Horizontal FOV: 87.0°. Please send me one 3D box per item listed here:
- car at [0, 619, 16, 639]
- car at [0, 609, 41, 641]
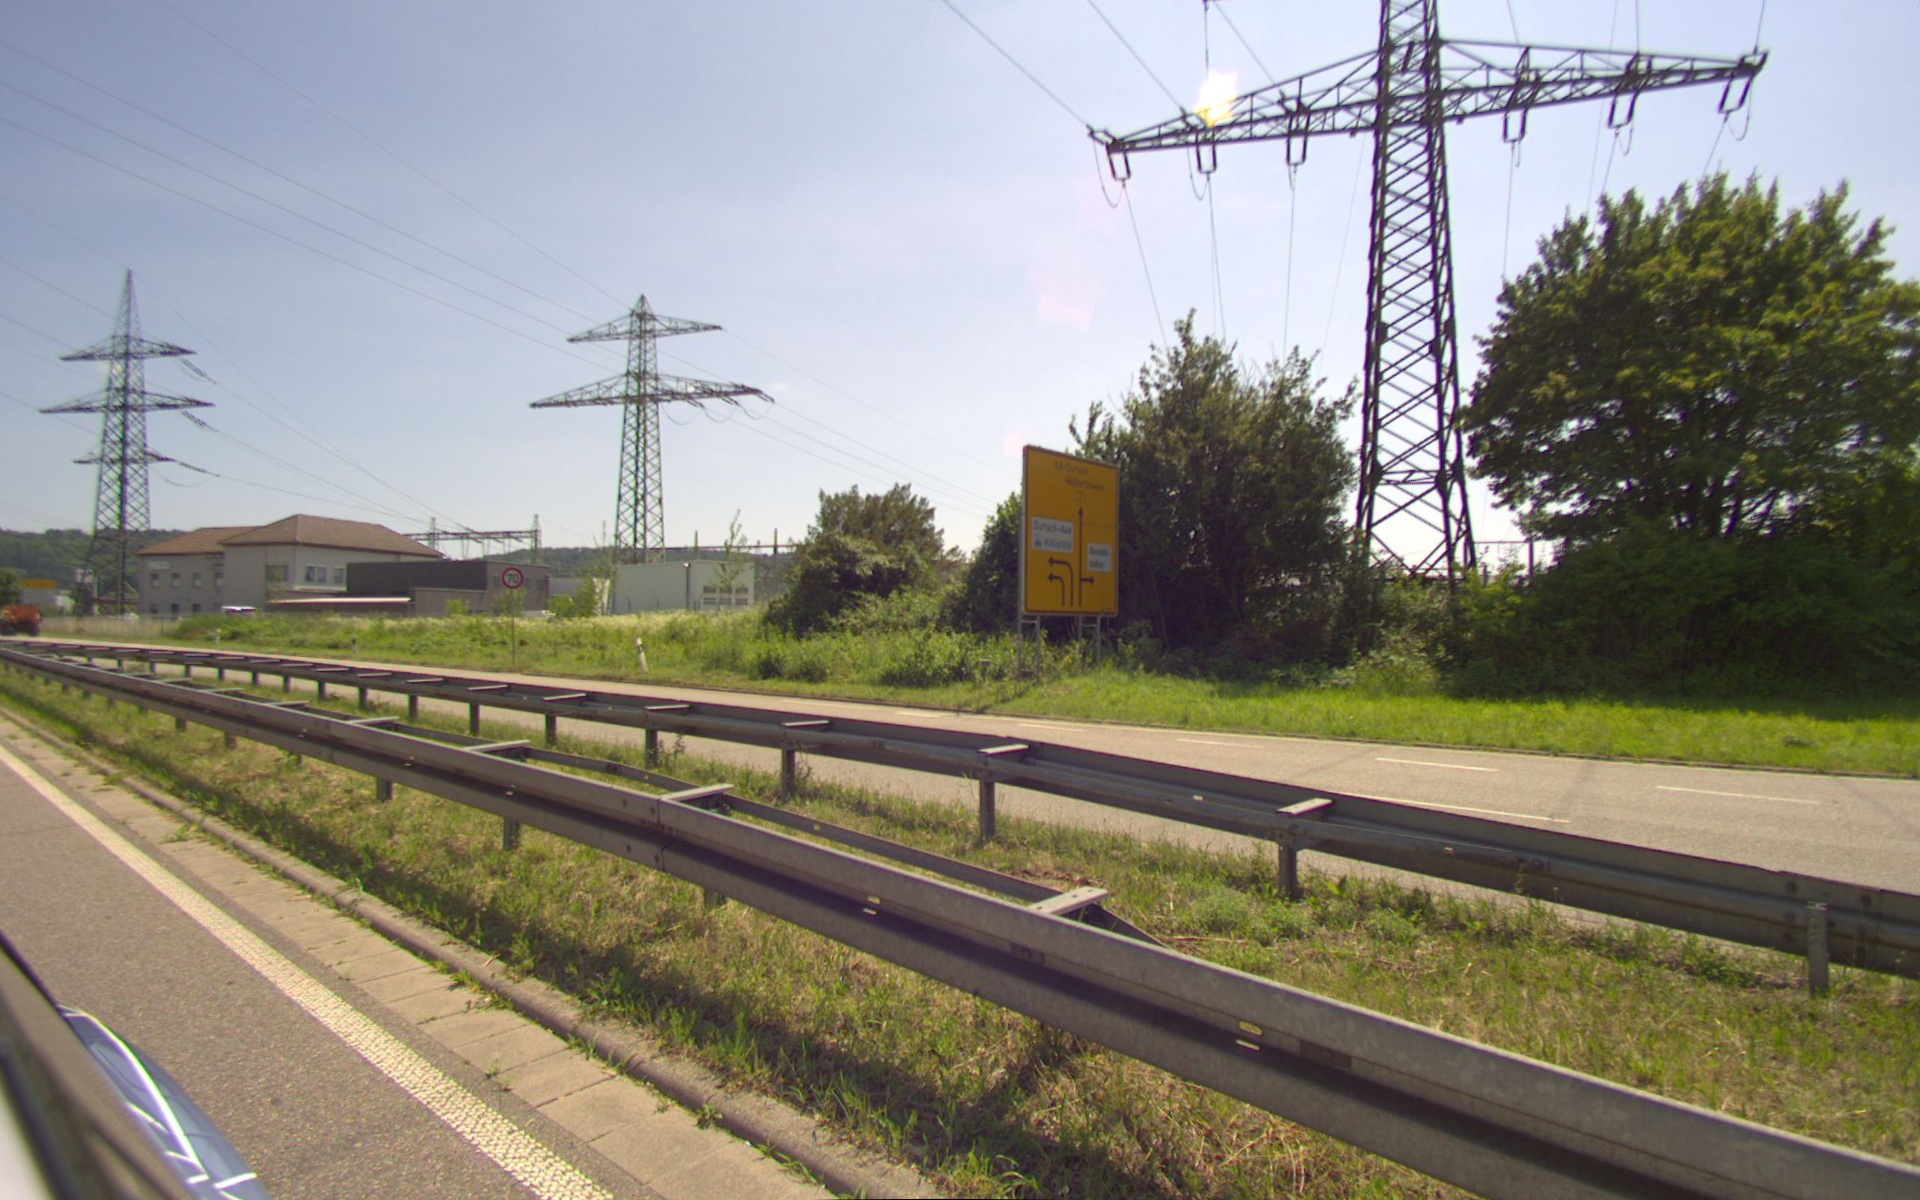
[{"bbox_3d":[-99.506,3.006,104.828,3.994,1.929,1.975,0,0,38],"label":"car"},{"bbox_3d":[-91.972,2.470,98.788,5.635,3.084,2.573,-1,-3,41],"label":"car"}]
